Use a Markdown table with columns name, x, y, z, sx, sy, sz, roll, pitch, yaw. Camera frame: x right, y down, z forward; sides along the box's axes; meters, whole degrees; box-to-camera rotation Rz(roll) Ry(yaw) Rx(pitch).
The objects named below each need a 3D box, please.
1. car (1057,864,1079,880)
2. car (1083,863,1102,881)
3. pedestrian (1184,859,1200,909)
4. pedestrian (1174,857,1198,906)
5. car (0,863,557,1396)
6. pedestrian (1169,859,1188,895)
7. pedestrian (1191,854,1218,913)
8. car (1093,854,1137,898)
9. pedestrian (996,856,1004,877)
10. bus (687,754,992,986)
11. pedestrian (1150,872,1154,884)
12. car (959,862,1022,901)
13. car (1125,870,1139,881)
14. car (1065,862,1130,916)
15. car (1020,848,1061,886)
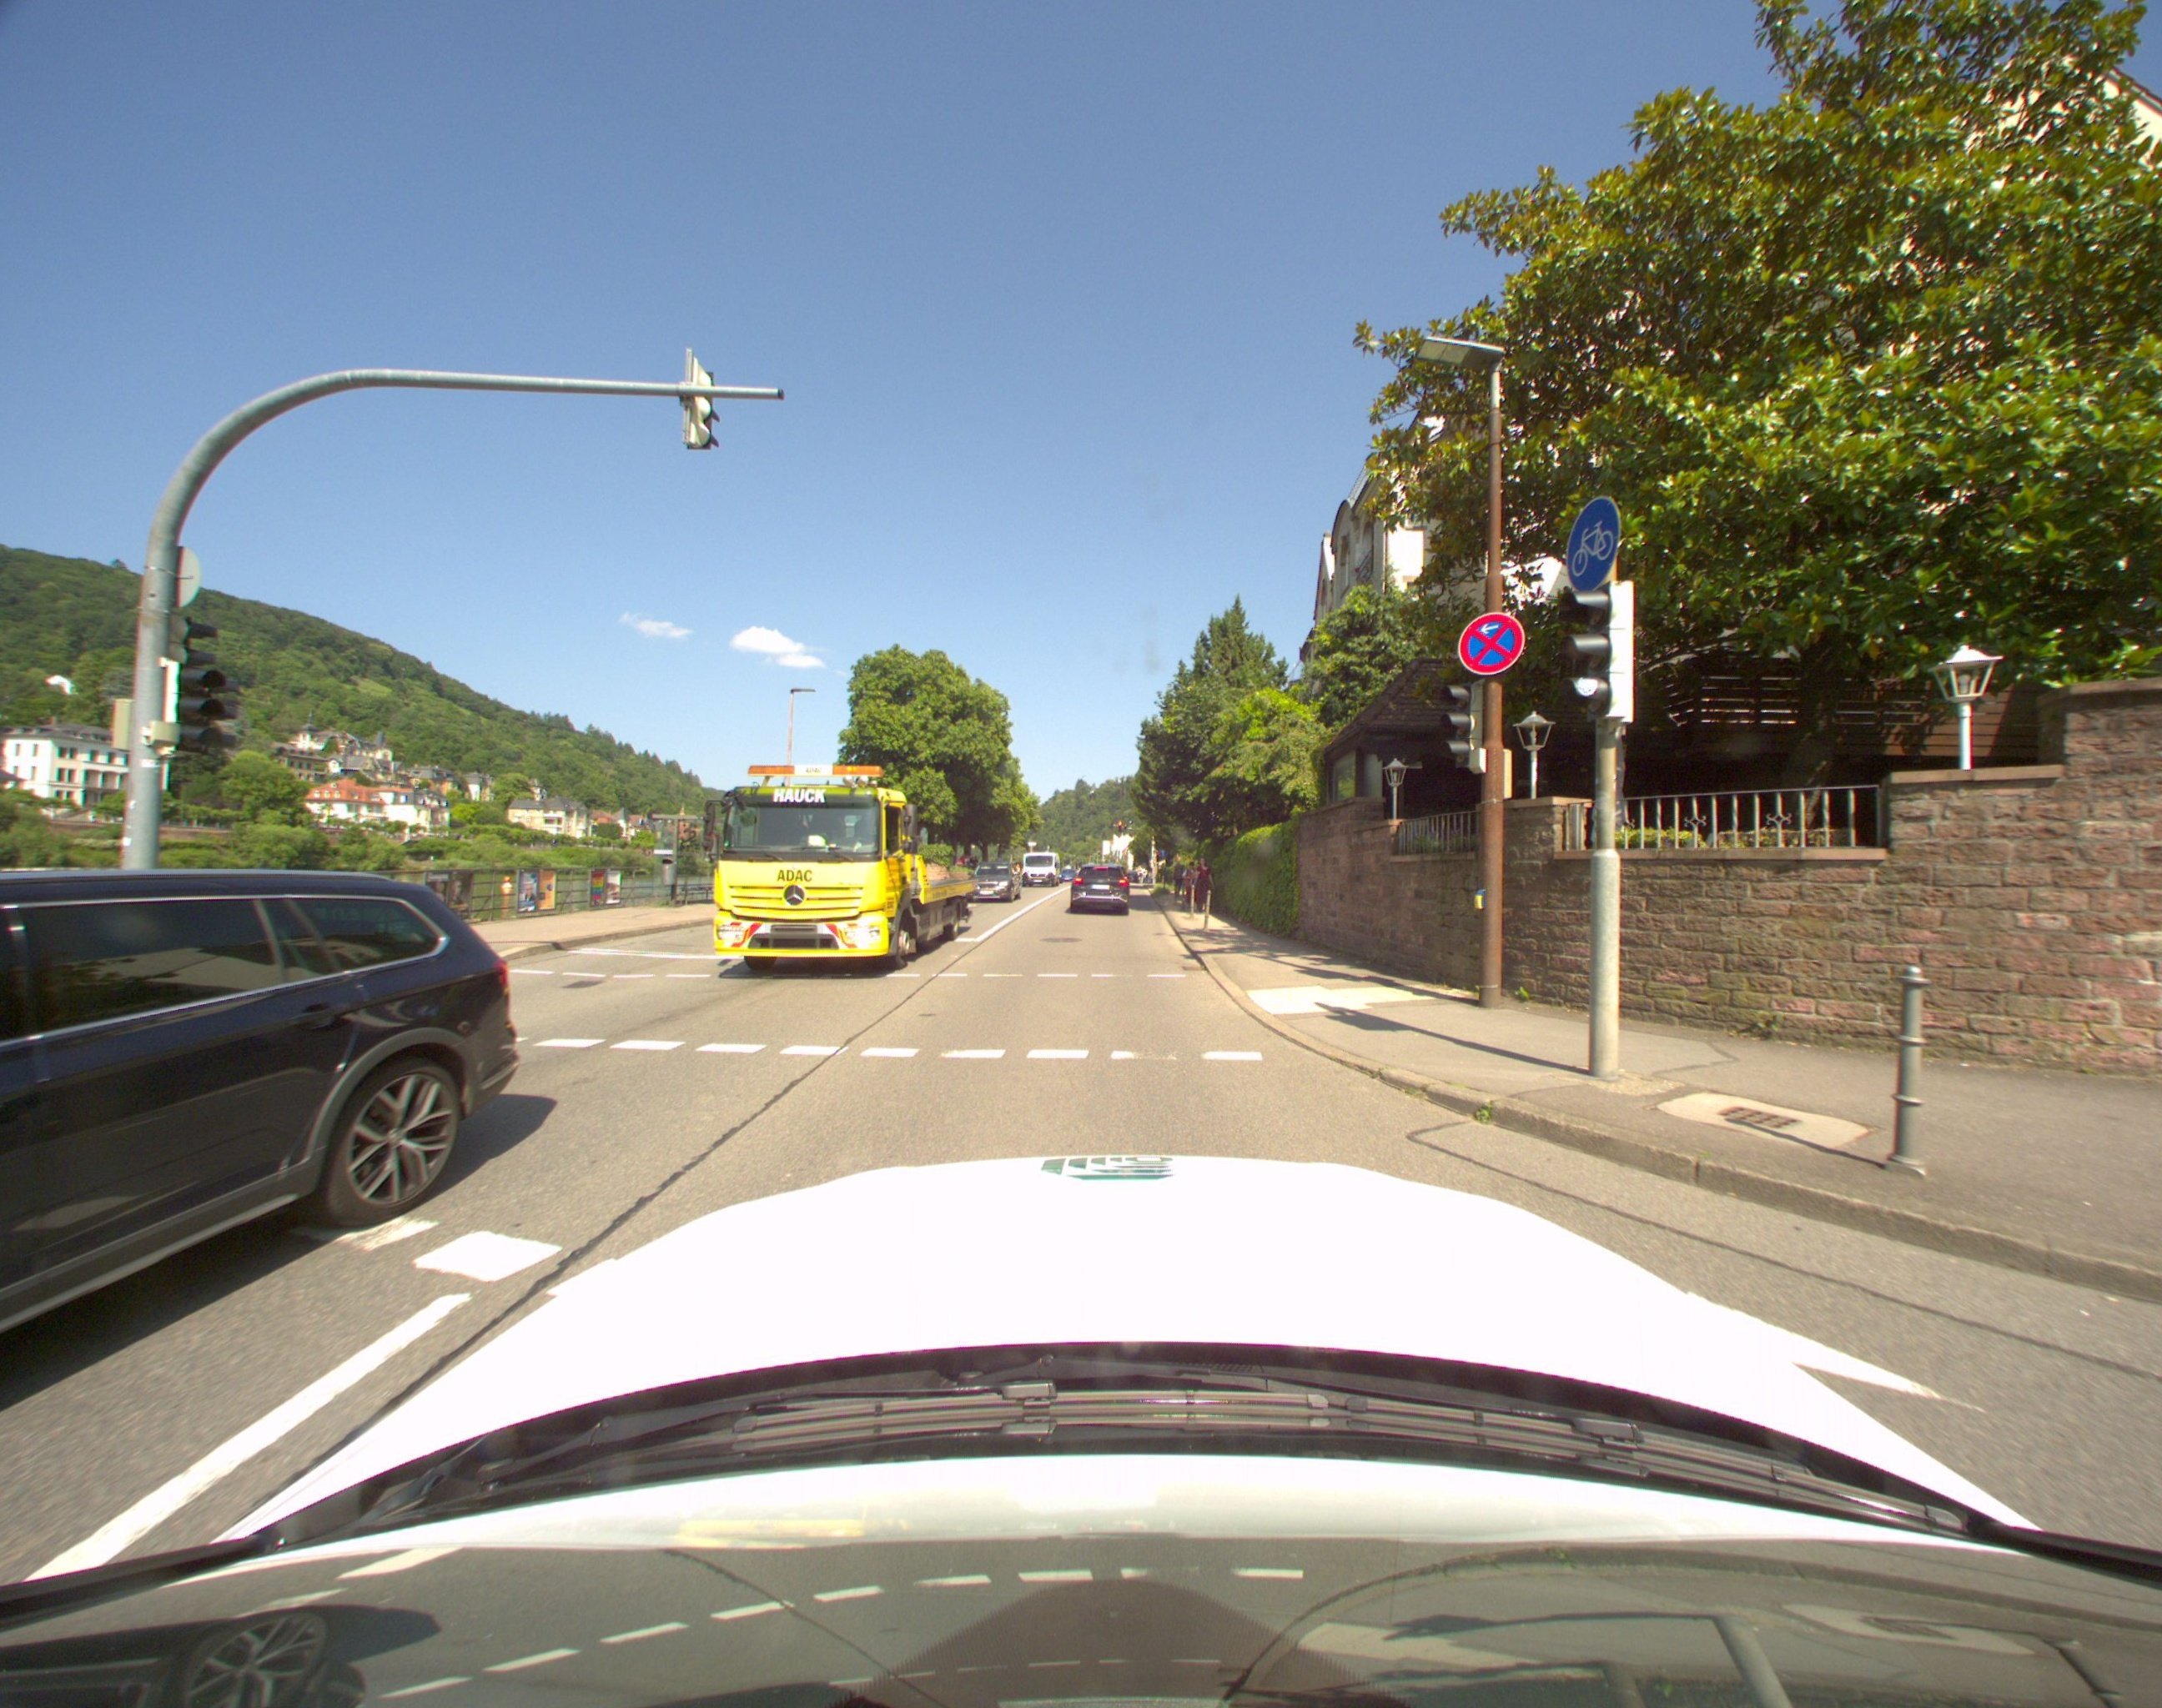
| name | x | y | z | sx | sy | sz | roll | pitch | yaw |
| --- | --- | --- | --- | --- | --- | --- | --- | --- | --- |
| car | -1.244 | 1.773 | 78.394 | 1.891 | 1.490 | 3.797 | 0 | -2 | 2 |
| car | 1.699 | 2.642 | 117.706 | 2.484 | 2.467 | 5.622 | 0 | -3 | 3 |
| pedestrian | 3.605 | 0.975 | 26.566 | 0.454 | 1.606 | 0.580 | 0 | -1 | 2 |
| pedestrian | 3.633 | 0.937 | 28.127 | 0.732 | 1.634 | 0.921 | 0 | -1 | 2 |
| car | -3.789 | 0.740 | 2.280 | 1.803 | 1.406 | 4.355 | 1 | -1 | 0 |
| pedestrian | 4.538 | 1.078 | 37.927 | 0.725 | 1.650 | 0.882 | -2 | -1 | 2 |
| pedestrian | 3.760 | 0.873 | 24.848 | 0.678 | 1.742 | 0.913 | 1 | 0 | 2 |
| car | 1.636 | 1.050 | 39.599 | 1.986 | 2.014 | 4.001 | 0 | -1 | 2 |
| pedestrian | -7.974 | 1.211 | 80.250 | 0.637 | 2.014 | 0.731 | 0 | -3 | 2 |
| bus | -3.519 | 0.275 | 14.514 | 2.587 | 2.897 | 8.450 | 1 | -1 | 2 |
| pedestrian | 8.770 | 2.958 | 100.679 | 0.487 | 1.559 | 0.462 | 0 | -3 | 2 |
| car | -3.387 | 1.004 | 31.338 | 1.808 | 1.398 | 4.348 | 0 | 0 | 2 |
| car | 7.166 | 3.082 | 115.053 | 1.985 | 1.453 | 4.010 | 0 | -3 | 3 |
| car | 0.605 | 1.038 | 25.726 | 1.849 | 1.524 | 4.004 | 1 | 0 | 4 |
| car | -2.520 | 0.794 | 52.168 | 2.088 | 2.302 | 5.871 | 0 | 0 | 2 |
